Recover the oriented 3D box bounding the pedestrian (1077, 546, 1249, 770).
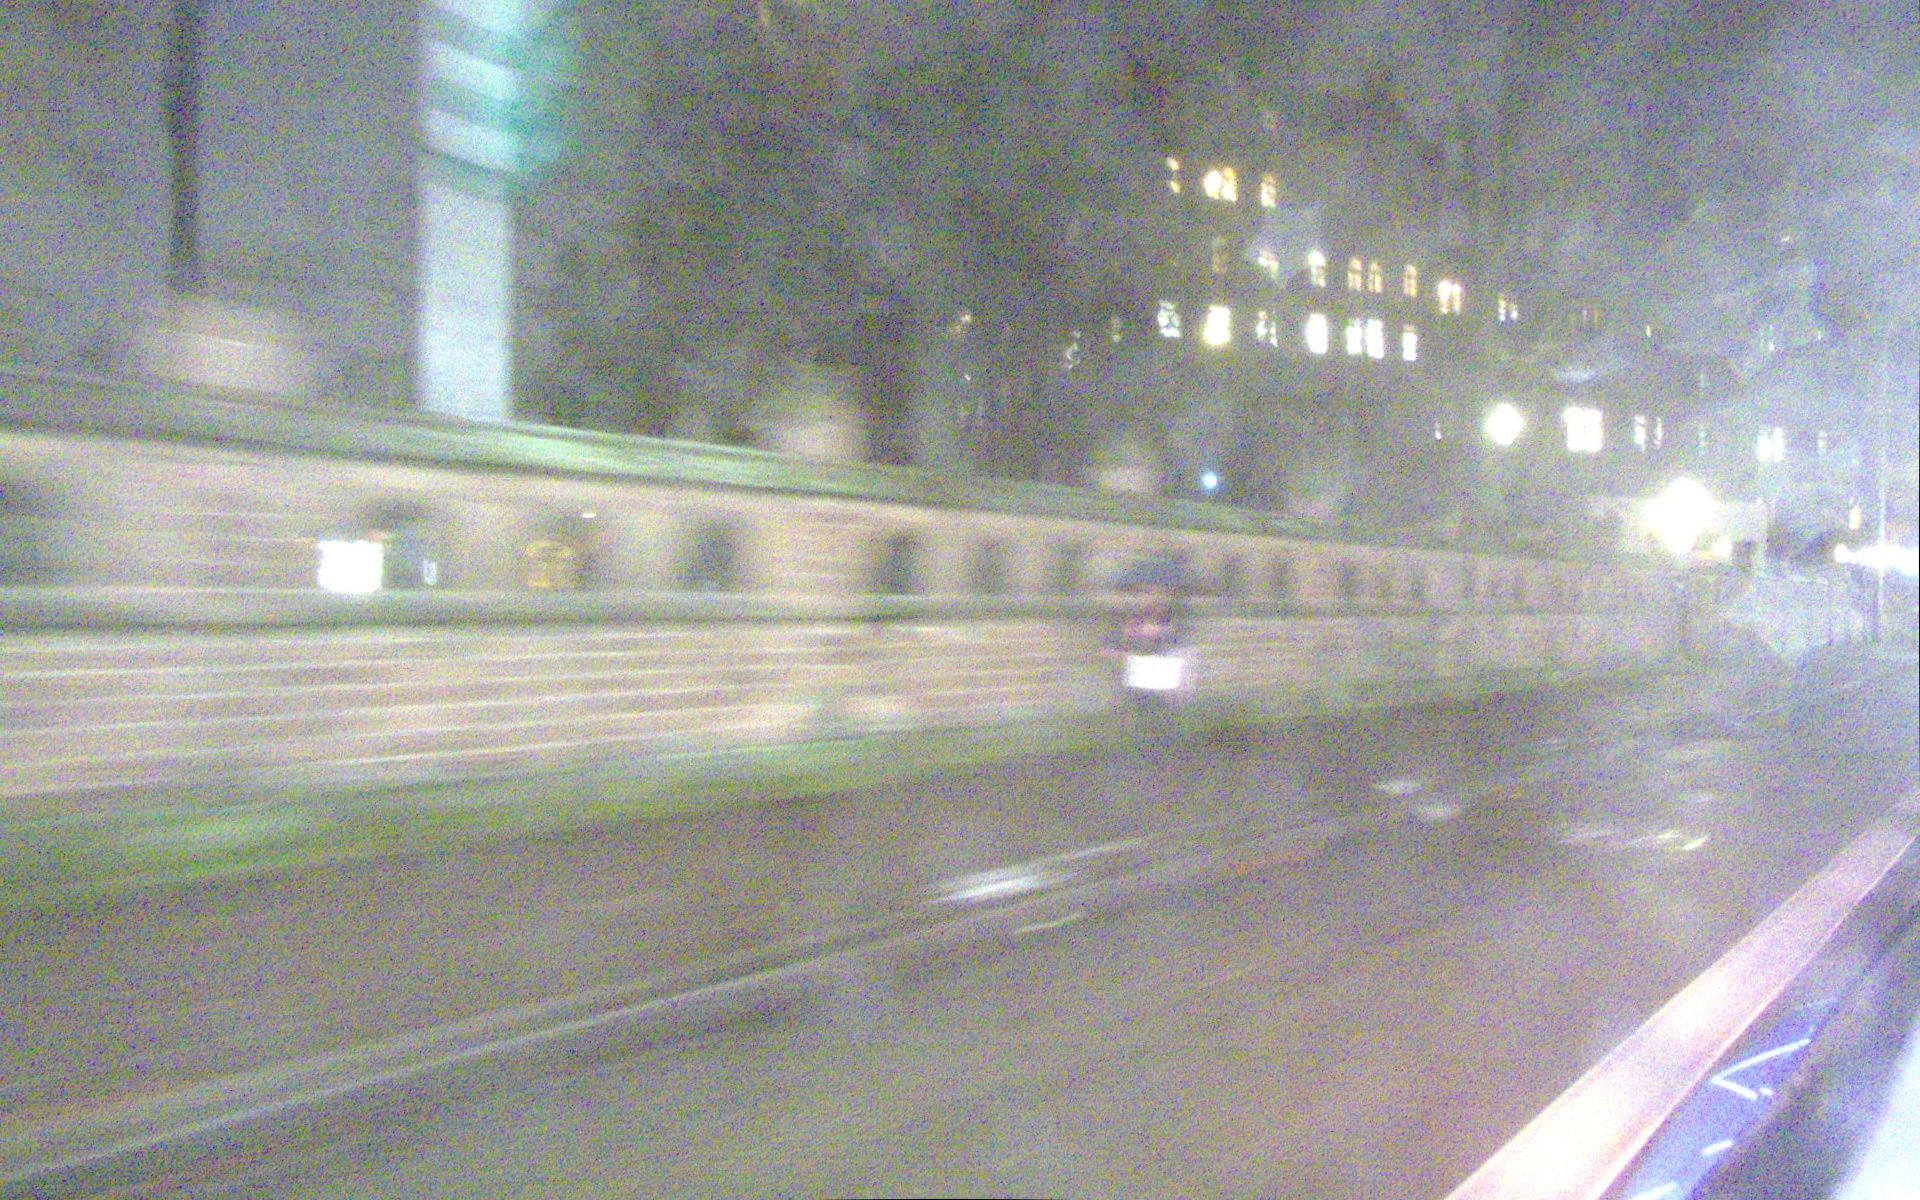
[{"bbox_3d":[1.684,0.429,8.398,0.978,1.684,0.940,1,3,-44],"label":"pedestrian"}]
